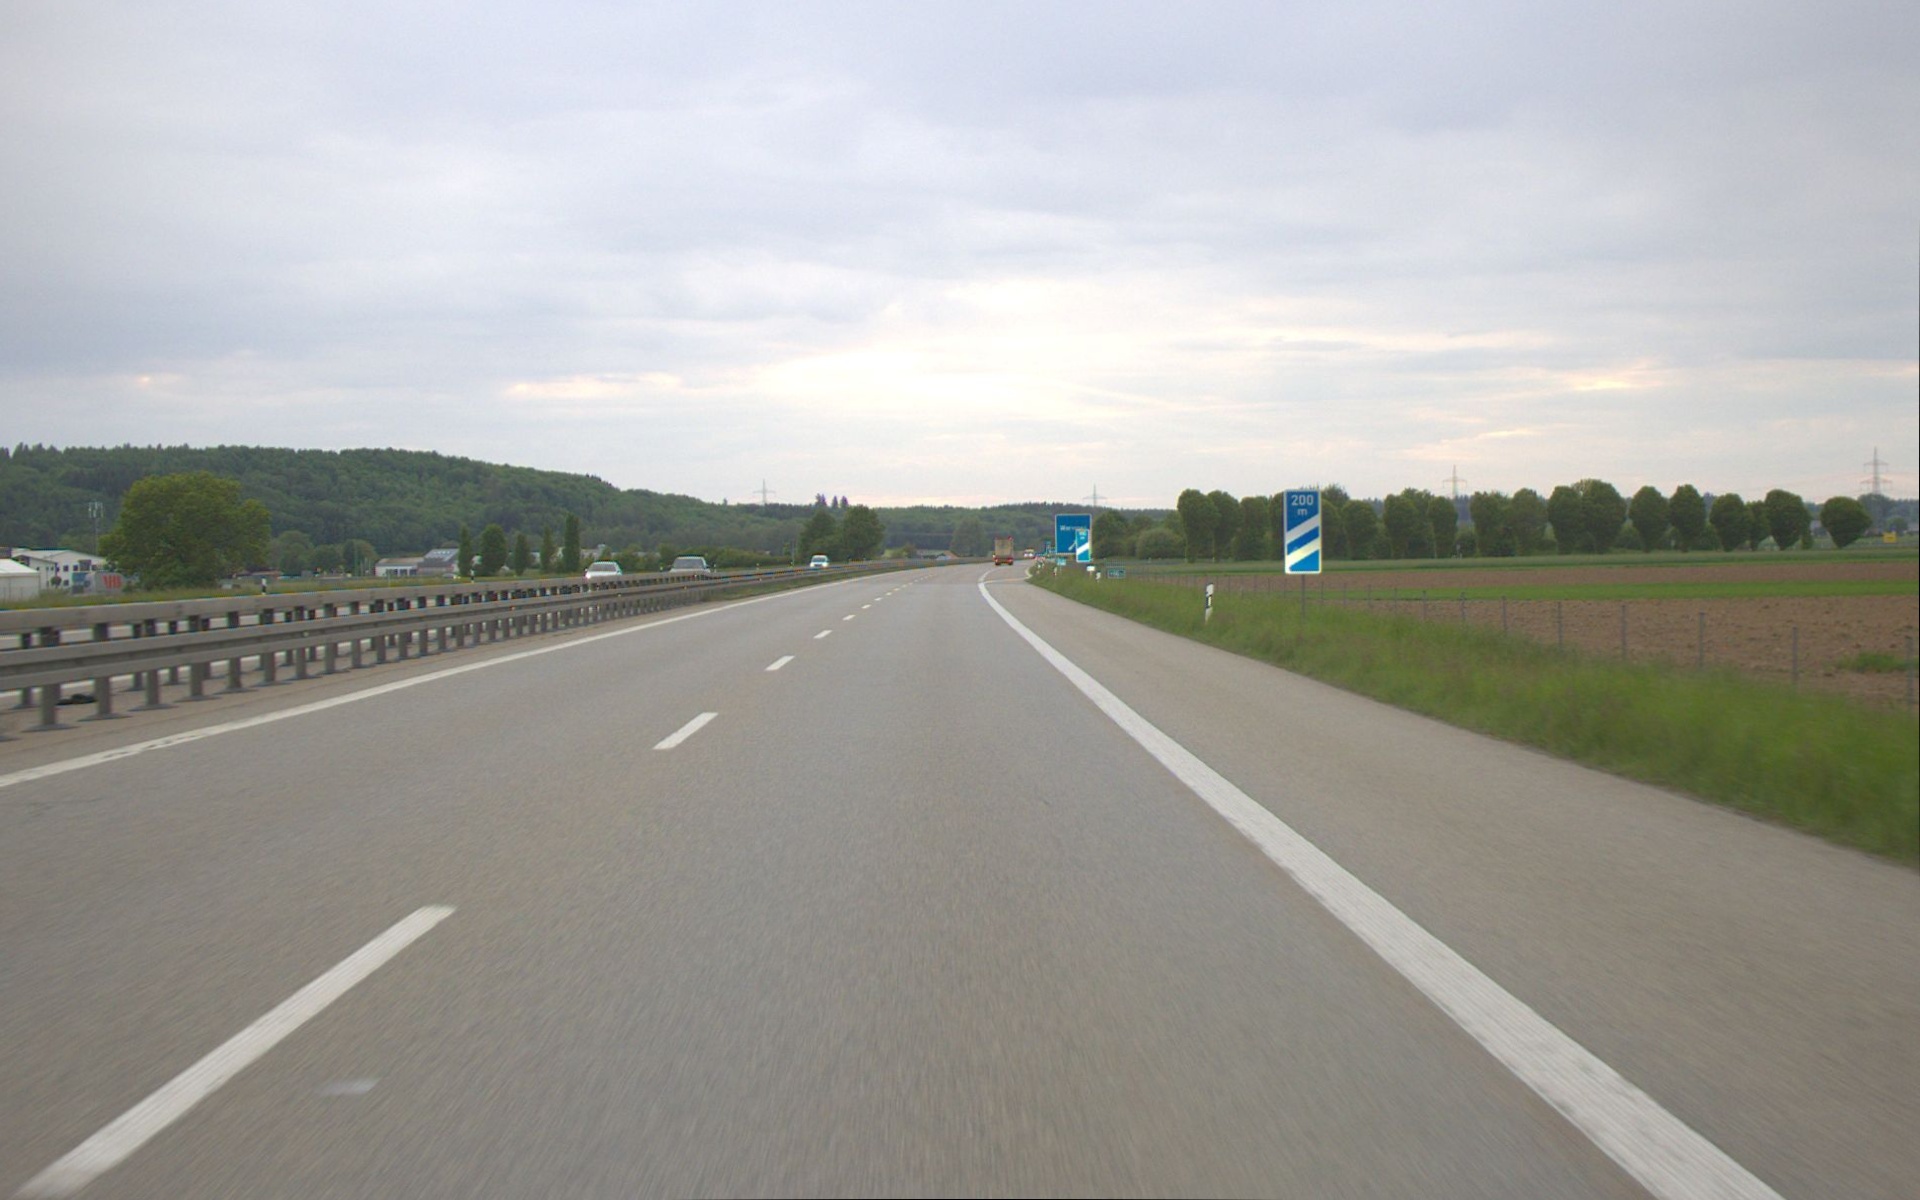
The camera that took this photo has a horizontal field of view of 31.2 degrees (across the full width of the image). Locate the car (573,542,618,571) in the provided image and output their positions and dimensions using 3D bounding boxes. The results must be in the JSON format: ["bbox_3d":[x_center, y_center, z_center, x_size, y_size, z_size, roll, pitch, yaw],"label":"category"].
[{"bbox_3d":[-19.390,-2.333,182.977,1.993,1.491,4.763,-1,1,-1],"label":"car"}]
